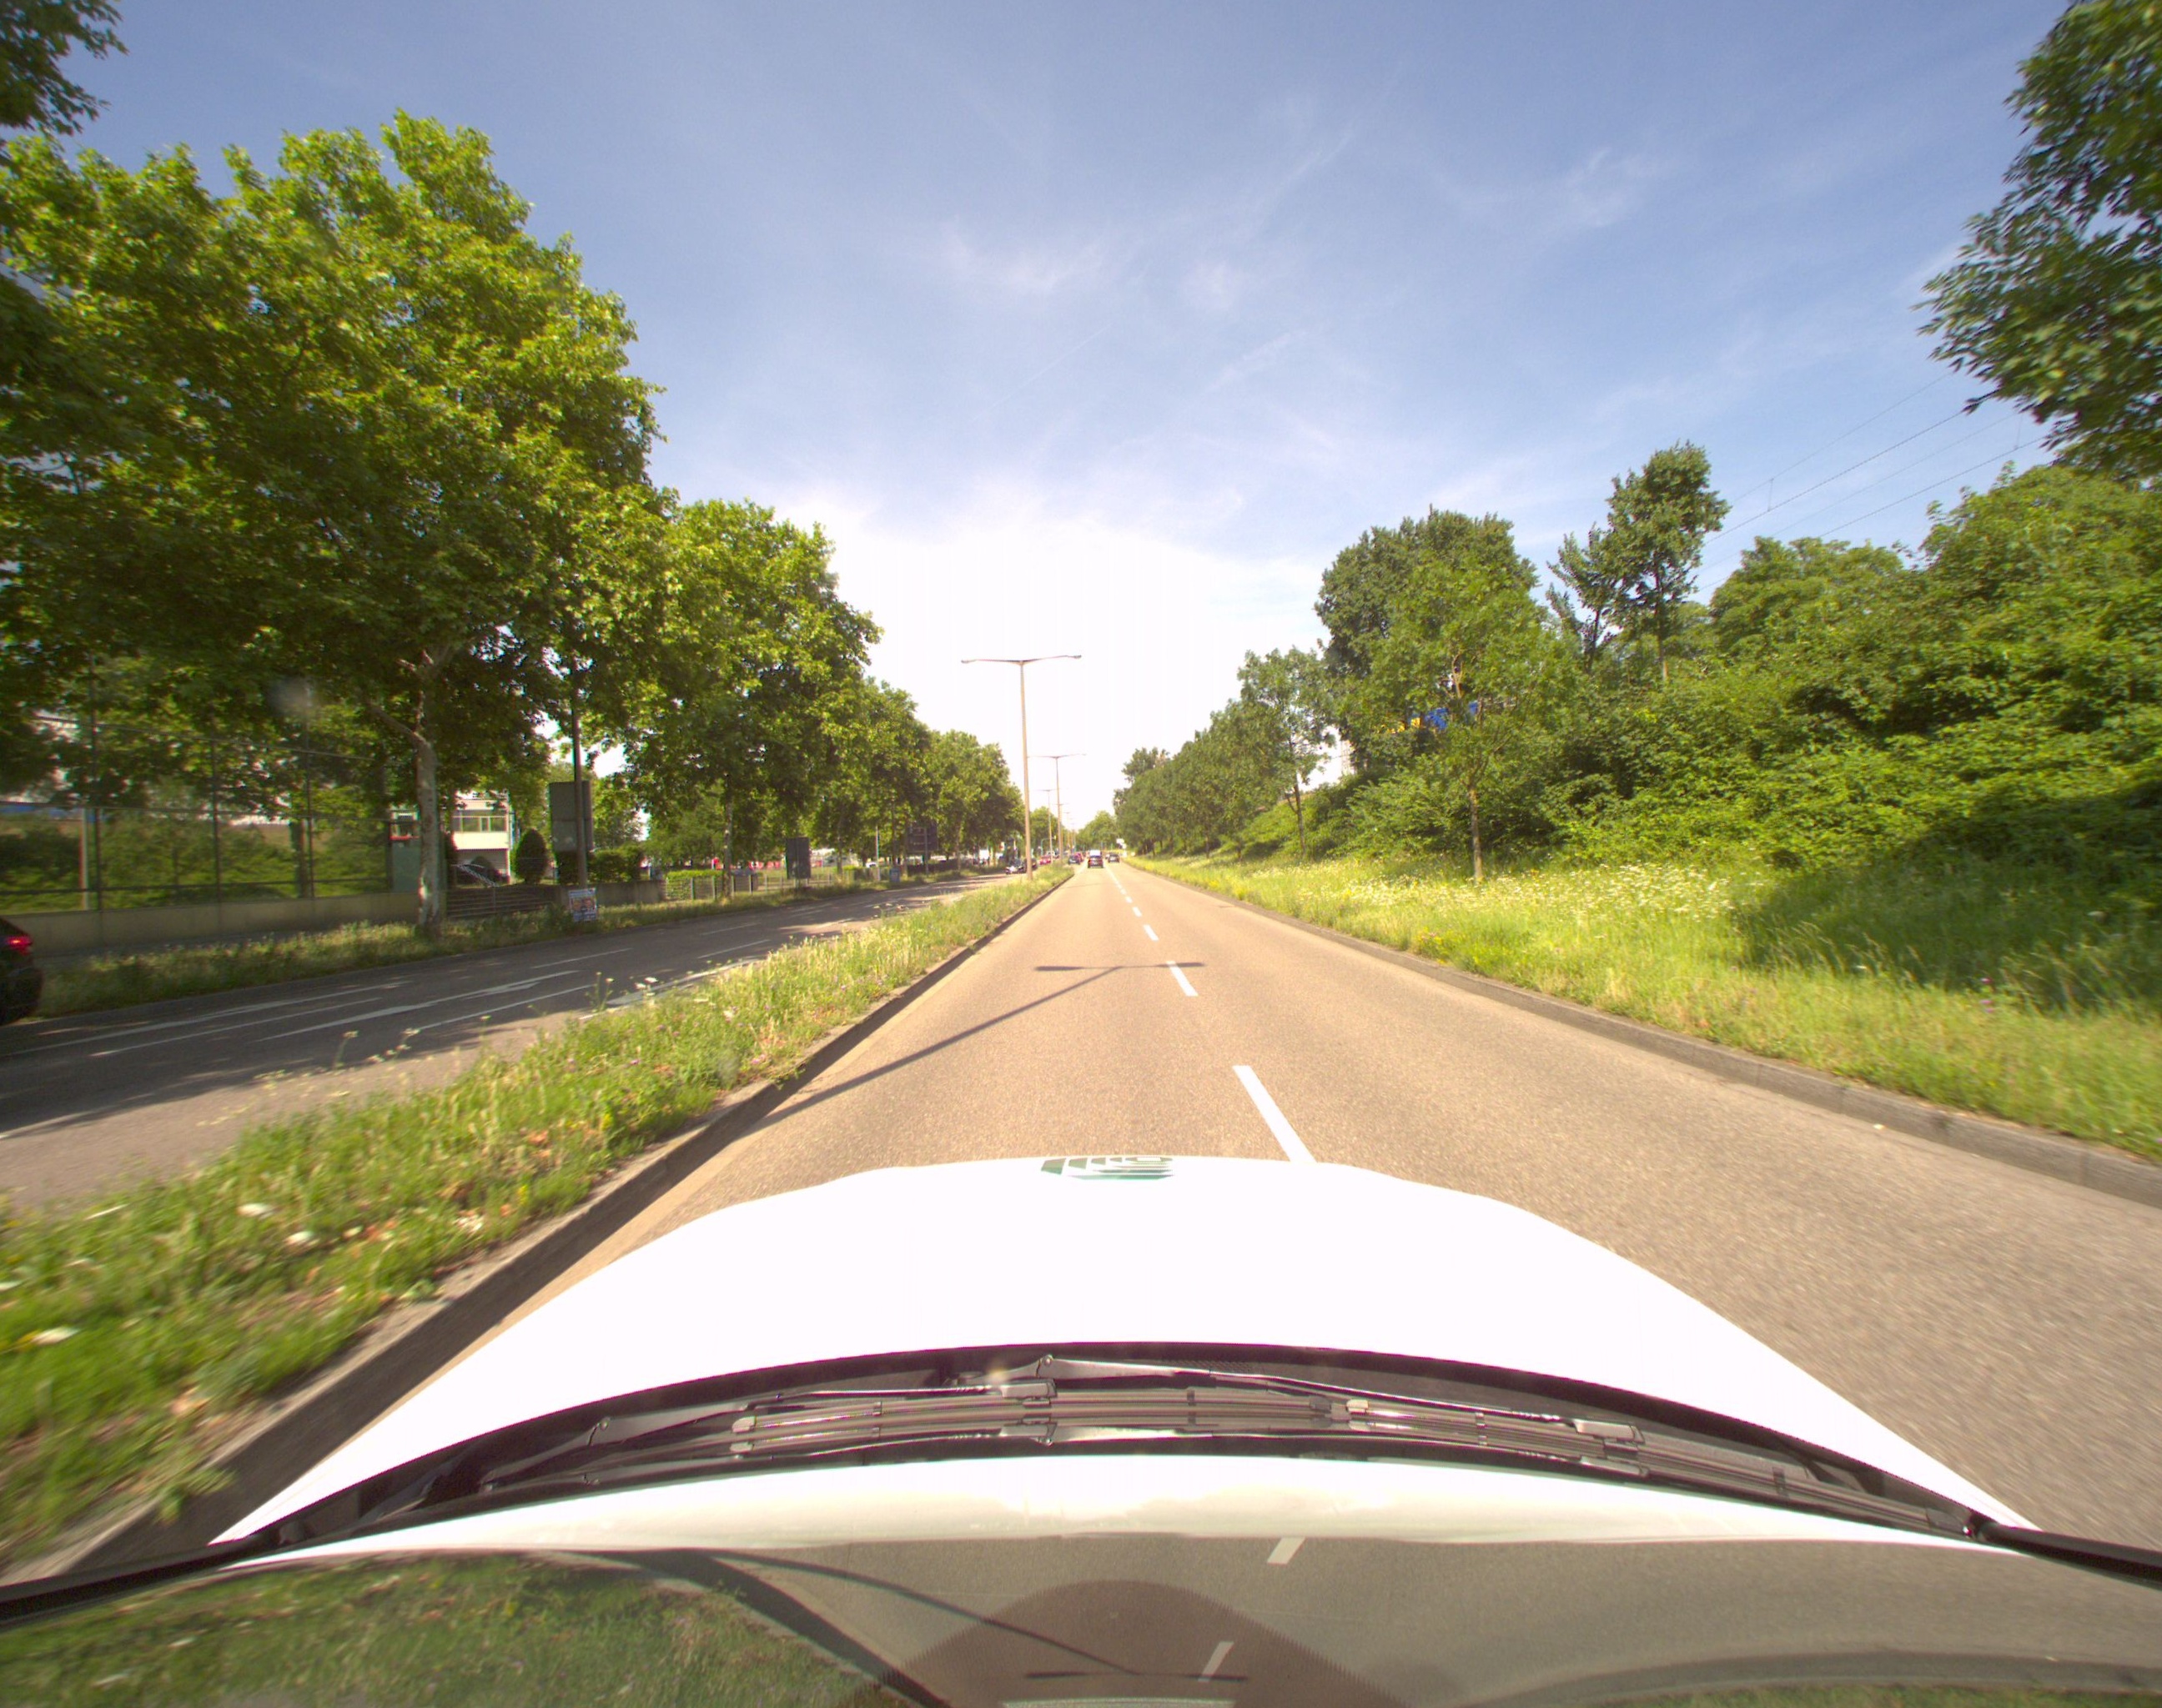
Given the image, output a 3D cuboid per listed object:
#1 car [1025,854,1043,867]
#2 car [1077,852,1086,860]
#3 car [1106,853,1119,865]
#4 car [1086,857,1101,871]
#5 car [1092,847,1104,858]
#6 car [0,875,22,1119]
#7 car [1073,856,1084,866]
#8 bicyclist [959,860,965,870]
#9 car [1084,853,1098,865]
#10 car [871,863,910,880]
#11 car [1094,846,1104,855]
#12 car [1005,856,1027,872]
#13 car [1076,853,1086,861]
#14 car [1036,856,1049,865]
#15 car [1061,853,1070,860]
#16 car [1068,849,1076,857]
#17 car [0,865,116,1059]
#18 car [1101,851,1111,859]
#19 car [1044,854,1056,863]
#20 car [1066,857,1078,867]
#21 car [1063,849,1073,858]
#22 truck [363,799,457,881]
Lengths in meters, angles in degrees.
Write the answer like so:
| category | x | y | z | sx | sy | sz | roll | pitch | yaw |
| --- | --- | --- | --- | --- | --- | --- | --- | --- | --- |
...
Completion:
| category | x | y | z | sx | sy | sz | roll | pitch | yaw |
| --- | --- | --- | --- | --- | --- | --- | --- | --- | --- |
| car | -5.896 | 0.813 | 102.048 | 1.766 | 1.467 | 4.672 | -3 | 0 | 1 |
| car | 0.107 | 0.357 | 163.851 | 1.875 | 1.618 | 4.212 | -2 | 0 | 0 |
| car | 5.085 | 0.785 | 131.835 | 2.011 | 1.837 | 4.002 | -2 | 2 | 1 |
| car | 1.569 | 1.186 | 98.116 | 1.730 | 1.535 | 4.002 | -2 | 2 | 1 |
| car | 3.066 | -0.270 | 144.043 | 1.986 | 1.708 | 4.264 | -2 | 0 | 1 |
| car | -8.210 | 1.017 | 3.236 | 1.987 | 1.610 | 4.496 | -3 | 0 | 1 |
| car | -0.450 | 1.227 | 141.128 | 1.776 | 1.593 | 4.593 | -1 | 0 | 0 |
| bicyclist | -18.280 | 1.626 | 125.136 | 0.679 | 1.485 | 0.942 | -3 | -1 | 1 |
| car | 1.478 | 0.677 | 123.389 | 1.987 | 1.684 | 4.000 | -2 | 0 | 1 |
| car | -22.942 | 2.096 | 98.204 | 3.968 | 1.823 | 2.159 | -2 | -1 | 4 |
| car | 4.359 | -0.921 | 194.506 | 1.989 | 2.013 | 3.996 | -2 | 0 | -3 |
| car | -6.604 | 0.995 | 82.885 | 1.821 | 1.467 | 4.986 | -3 | 0 | -1 |
| car | -0.030 | 0.553 | 150.346 | 1.760 | 1.479 | 4.136 | -1 | 0 | 0 |
| car | -6.287 | 1.093 | 134.795 | 1.757 | 1.462 | 4.002 | -4 | 0 | 2 |
| car | -4.152 | 0.589 | 217.845 | 1.985 | 1.775 | 4.004 | -3 | 0 | 3 |
| car | -2.318 | -0.183 | 211.407 | 1.986 | 1.860 | 4.002 | -2 | 0 | 2 |
| car | -11.355 | 1.104 | 6.345 | 1.987 | 1.835 | 4.652 | -3 | 0 | 1 |
| car | 5.167 | 0.215 | 168.580 | 1.986 | 1.708 | 4.264 | -2 | 0 | 1 |
| car | -5.648 | 0.806 | 147.480 | 1.833 | 1.478 | 4.166 | -3 | 0 | 1 |
| car | -1.283 | 1.146 | 119.450 | 1.621 | 1.483 | 4.048 | -1 | 0 | 0 |
| car | -2.802 | -0.128 | 172.967 | 1.986 | 1.708 | 4.264 | -2 | 0 | 1 |
| truck | -31.320 | -0.513 | 38.326 | 2.685 | 3.395 | 8.891 | -2 | 0 | -35 |
